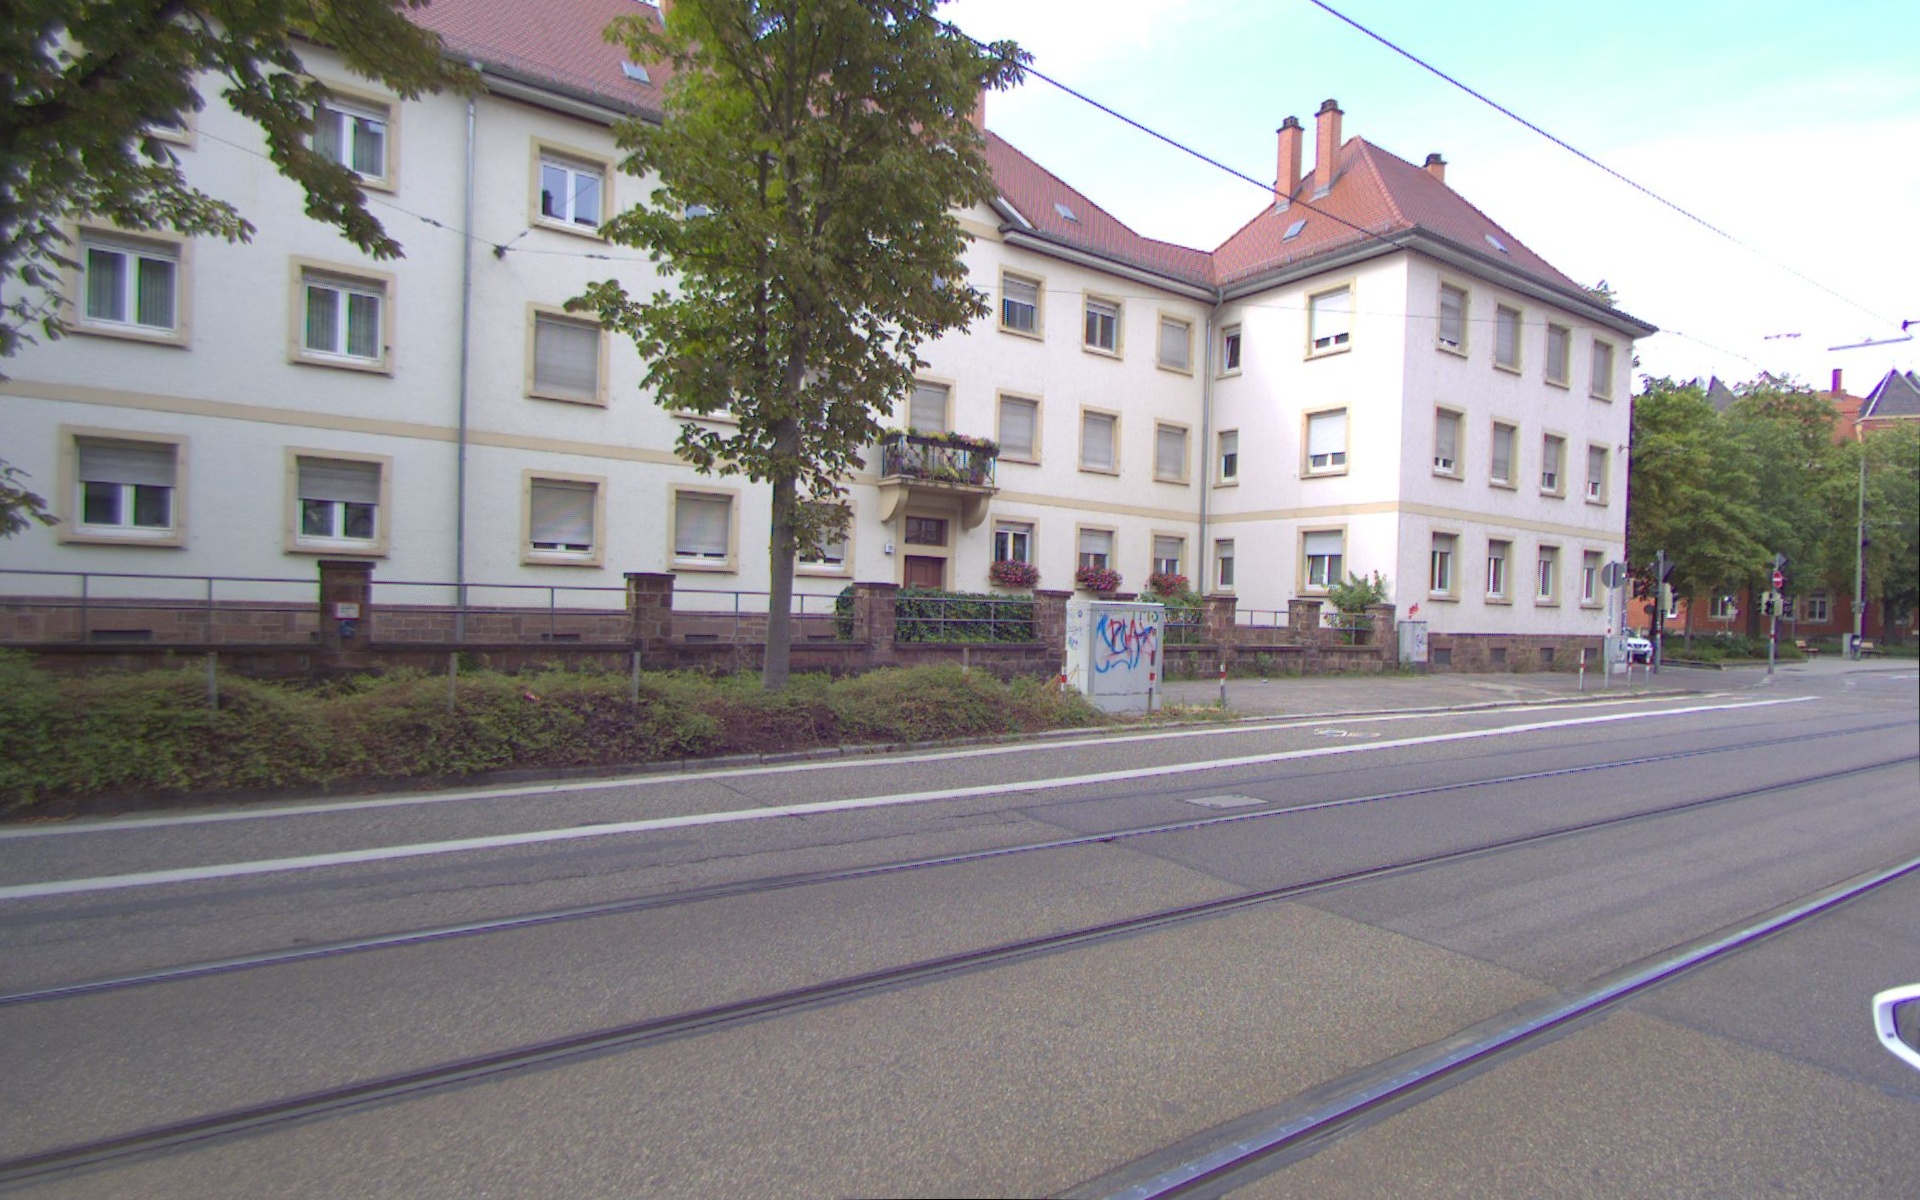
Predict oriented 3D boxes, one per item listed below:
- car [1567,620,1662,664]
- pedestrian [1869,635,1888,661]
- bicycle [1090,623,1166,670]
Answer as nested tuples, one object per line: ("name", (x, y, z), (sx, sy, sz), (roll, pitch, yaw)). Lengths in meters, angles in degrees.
("car", (28.757, 1.875, 44.295), (1.804, 1.743, 4.163), (3, -2, 6))
("pedestrian", (62.973, 3.281, 68.846), (0.726, 1.725, 0.826), (2, 0, -39))
("bicycle", (3.439, 0.944, 20.558), (1.655, 0.927, 0.475), (2, 0, -34))
